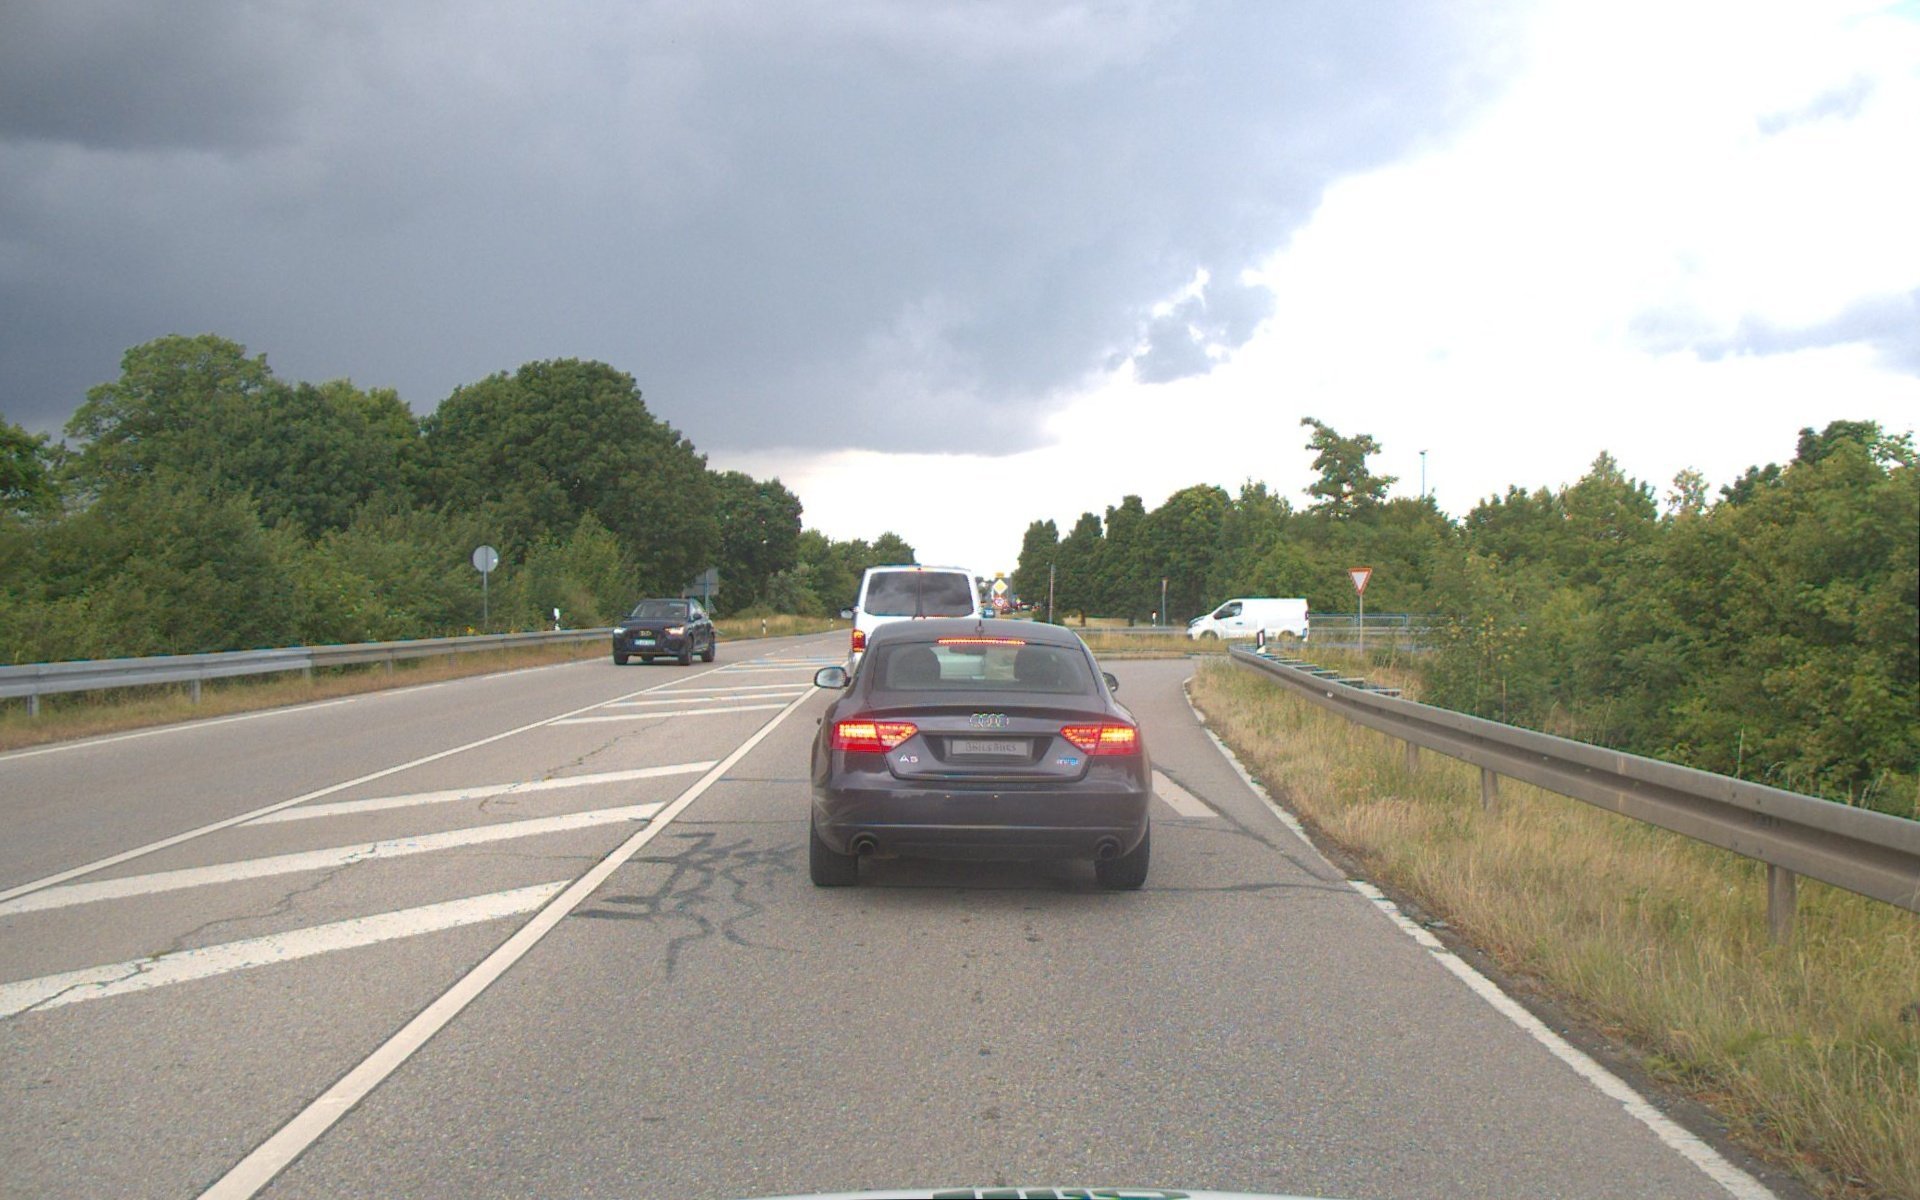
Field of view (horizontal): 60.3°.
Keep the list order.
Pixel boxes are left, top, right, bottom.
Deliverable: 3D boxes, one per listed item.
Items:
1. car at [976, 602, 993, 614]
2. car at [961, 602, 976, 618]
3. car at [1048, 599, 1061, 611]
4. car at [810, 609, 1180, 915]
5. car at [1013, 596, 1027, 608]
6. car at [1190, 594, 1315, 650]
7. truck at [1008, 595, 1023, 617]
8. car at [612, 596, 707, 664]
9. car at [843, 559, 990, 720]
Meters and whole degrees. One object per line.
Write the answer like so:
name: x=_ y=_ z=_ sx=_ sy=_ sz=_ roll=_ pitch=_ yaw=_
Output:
car: x=3.411 y=1.114 z=234.166 sx=2.161 sy=1.610 sz=4.377 roll=1 pitch=0 yaw=-2
car: x=1.085 y=1.305 z=213.642 sx=1.952 sy=2.049 sz=4.000 roll=1 pitch=0 yaw=0
car: x=13.603 y=0.743 z=238.535 sx=1.836 sy=1.722 sz=4.002 roll=1 pitch=0 yaw=4
car: x=0.104 y=0.776 z=9.475 sx=1.744 sy=1.423 sz=3.335 roll=0 pitch=0 yaw=-2
car: x=8.948 y=0.278 z=245.448 sx=1.952 sy=1.722 sz=4.000 roll=1 pitch=0 yaw=1
car: x=11.645 y=0.848 z=65.753 sx=4.756 sy=2.101 sz=2.089 roll=1 pitch=0 yaw=13
truck: x=7.640 y=0.781 z=227.189 sx=1.952 sy=2.969 sz=5.794 roll=1 pitch=0 yaw=1
car: x=-7.345 y=0.691 z=40.764 sx=1.675 sy=1.545 sz=4.208 roll=1 pitch=0 yaw=-2
car: x=-0.633 y=0.505 z=23.342 sx=1.872 sy=2.049 sz=3.998 roll=1 pitch=0 yaw=-2
